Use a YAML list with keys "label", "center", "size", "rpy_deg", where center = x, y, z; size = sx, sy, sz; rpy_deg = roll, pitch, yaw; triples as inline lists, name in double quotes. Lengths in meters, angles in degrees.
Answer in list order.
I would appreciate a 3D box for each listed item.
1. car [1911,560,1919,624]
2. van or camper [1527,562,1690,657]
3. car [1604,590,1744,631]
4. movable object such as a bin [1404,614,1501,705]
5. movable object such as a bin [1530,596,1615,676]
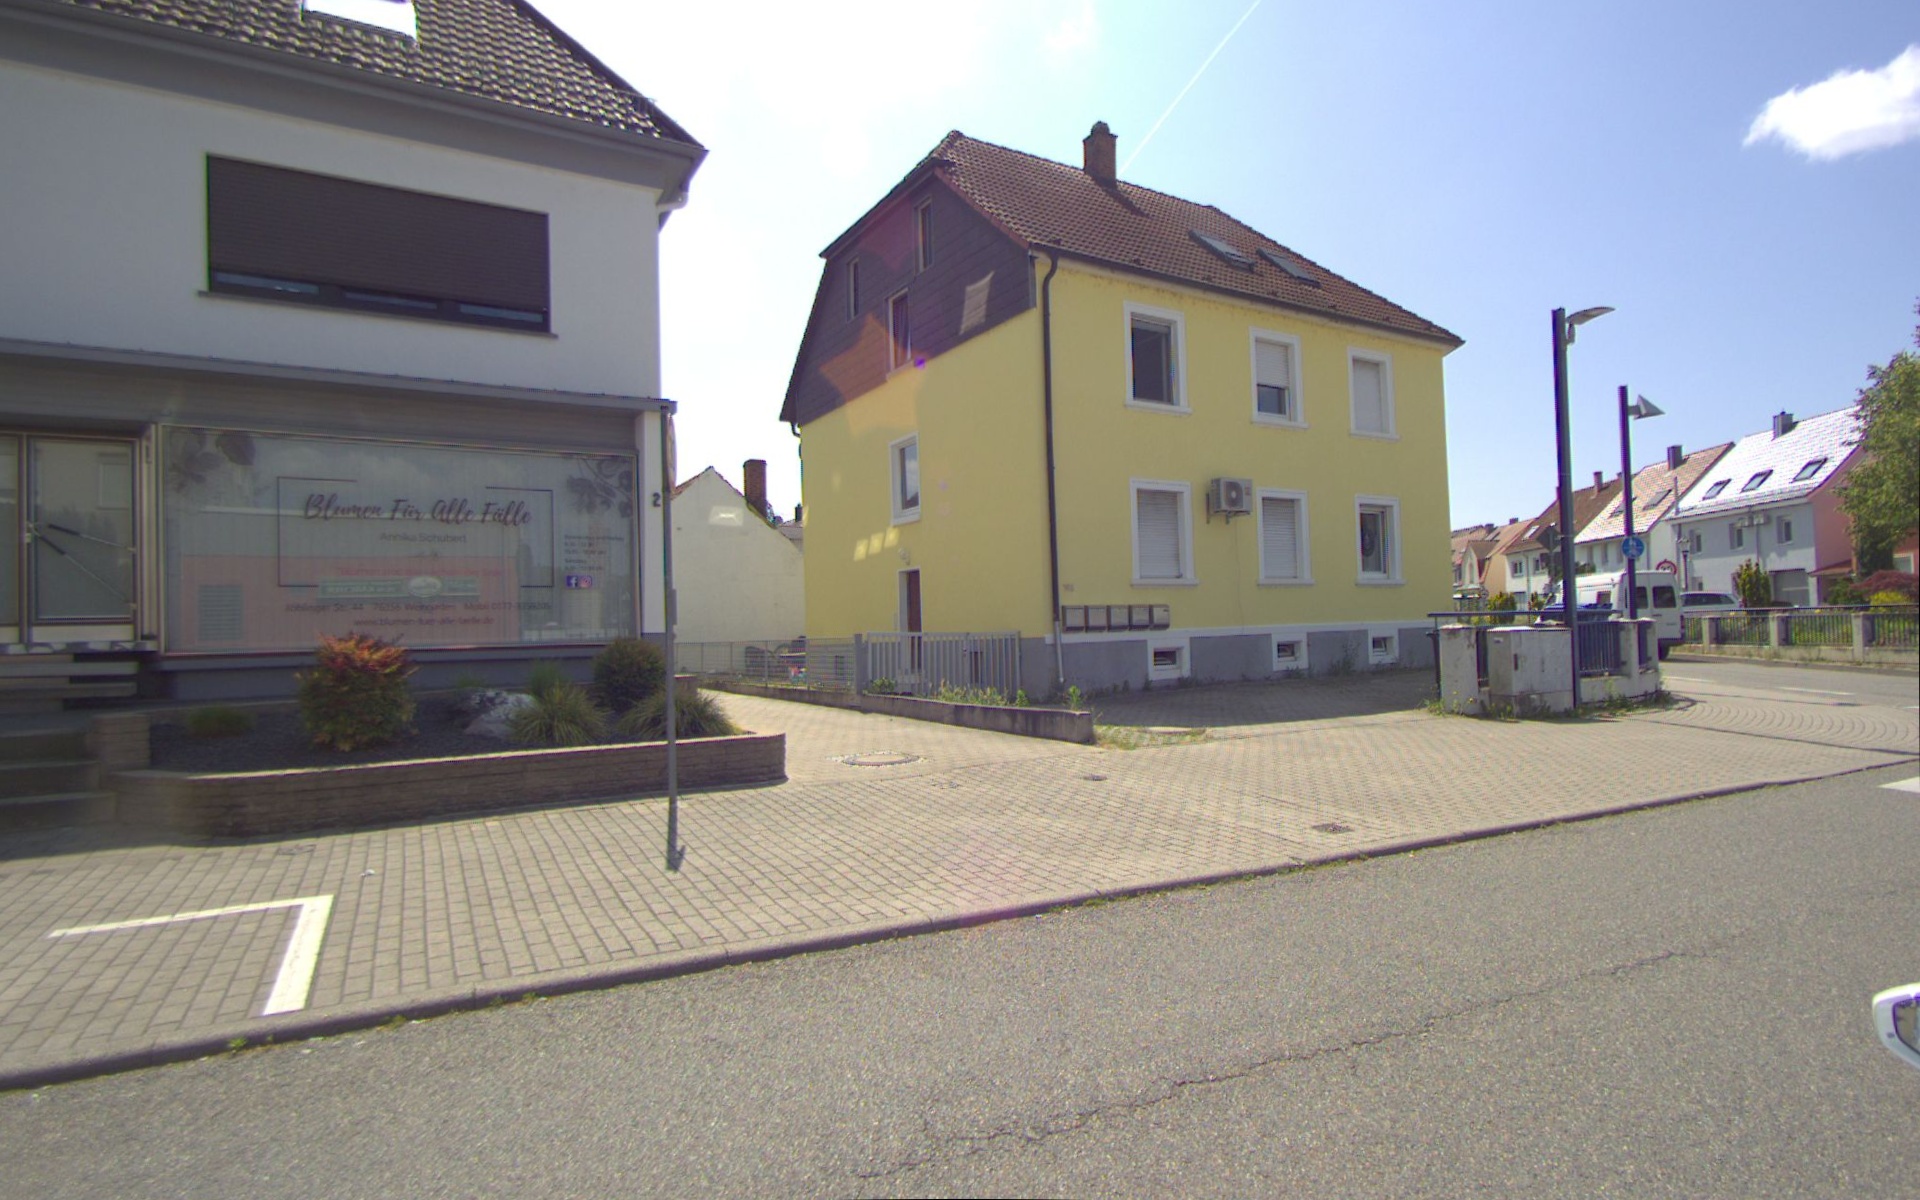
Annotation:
- label: "car"
  center: [26.169, -0.164, 24.863]
  size: [3.540, 1.608, 1.872]
  rpy_deg: [1, 2, -3]
- label: "van or camper"
  center: [20.068, 0.275, 31.438]
  size: [1.964, 2.665, 5.396]
  rpy_deg: [2, 0, 5]
- label: "car"
  center: [28.158, 0.399, 39.713]
  size: [4.171, 1.509, 1.748]
  rpy_deg: [1, 2, 3]
- label: "movable object such as a bin"
  center: [7.074, 0.840, 14.441]
  size: [0.890, 1.241, 0.882]
  rpy_deg: [0, -1, -28]
- label: "movable object such as a bin"
  center: [9.890, 0.568, 16.217]
  size: [1.267, 1.229, 0.832]
  rpy_deg: [0, -1, -43]
